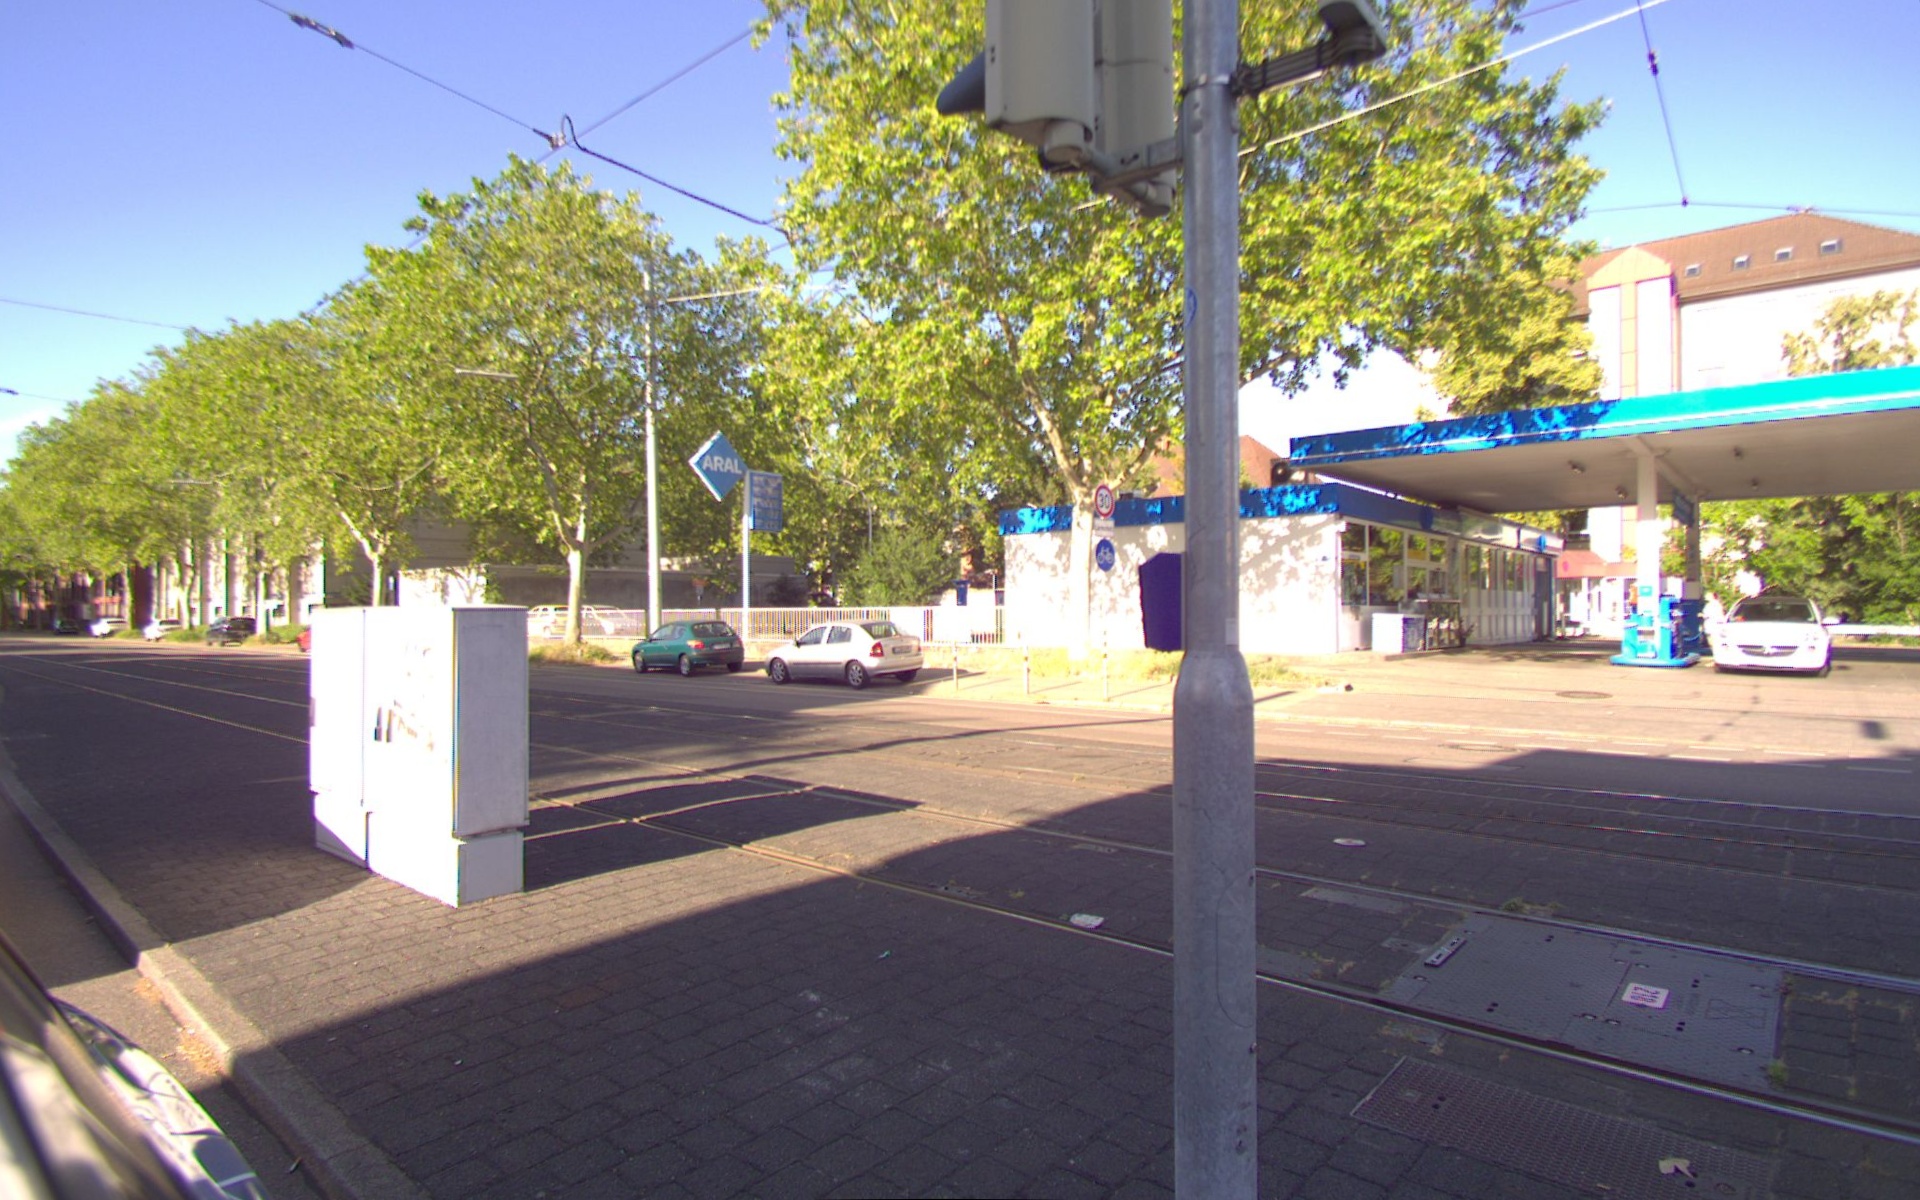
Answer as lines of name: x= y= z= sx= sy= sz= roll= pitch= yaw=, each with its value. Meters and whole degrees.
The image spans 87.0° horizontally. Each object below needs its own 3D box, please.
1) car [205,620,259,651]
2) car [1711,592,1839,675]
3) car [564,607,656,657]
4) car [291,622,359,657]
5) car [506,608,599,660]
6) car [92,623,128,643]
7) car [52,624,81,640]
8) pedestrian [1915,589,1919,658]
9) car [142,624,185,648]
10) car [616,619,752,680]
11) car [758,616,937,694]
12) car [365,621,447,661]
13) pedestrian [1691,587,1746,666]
car: x=-40.669 y=1.958 z=56.485 sx=3.858 sy=1.557 sz=1.735 roll=-1 pitch=0 yaw=43
car: x=15.948 y=0.616 z=19.782 sx=1.793 sy=1.453 sz=3.946 roll=-1 pitch=-1 yaw=40
car: x=-15.139 y=1.366 z=43.690 sx=3.996 sy=2.029 sz=1.974 roll=-1 pitch=-1 yaw=39
car: x=-28.905 y=1.776 z=46.044 sx=3.858 sy=1.440 sz=1.695 roll=-1 pitch=0 yaw=43
car: x=-17.037 y=1.396 z=42.262 sx=3.996 sy=2.029 sz=1.974 roll=-1 pitch=-1 yaw=39
car: x=-66.920 y=2.582 z=79.640 sx=3.858 sy=1.495 sz=1.735 roll=-1 pitch=0 yaw=43
car: x=-84.866 y=3.015 z=96.114 sx=3.858 sy=1.495 sz=1.735 roll=-1 pitch=0 yaw=43
pedestrian: x=25.647 y=0.616 z=26.253 sx=0.887 sy=1.815 sz=0.907 roll=-1 pitch=-1 yaw=15
car: x=-53.632 y=2.401 z=68.120 sx=3.858 sy=1.495 sz=1.735 roll=-1 pitch=0 yaw=43
car: x=-7.426 y=1.276 z=27.075 sx=3.858 sy=1.408 sz=1.722 roll=-1 pitch=1 yaw=43
car: x=-2.566 y=1.168 z=22.596 sx=3.857 sy=1.497 sz=1.823 roll=-1 pitch=1 yaw=42
car: x=-21.978 y=1.590 z=40.090 sx=3.858 sy=1.468 sz=1.735 roll=-1 pitch=0 yaw=43
pedestrian: x=16.198 y=0.556 z=21.607 sx=0.637 sy=1.642 sz=0.814 roll=1 pitch=-2 yaw=-42
